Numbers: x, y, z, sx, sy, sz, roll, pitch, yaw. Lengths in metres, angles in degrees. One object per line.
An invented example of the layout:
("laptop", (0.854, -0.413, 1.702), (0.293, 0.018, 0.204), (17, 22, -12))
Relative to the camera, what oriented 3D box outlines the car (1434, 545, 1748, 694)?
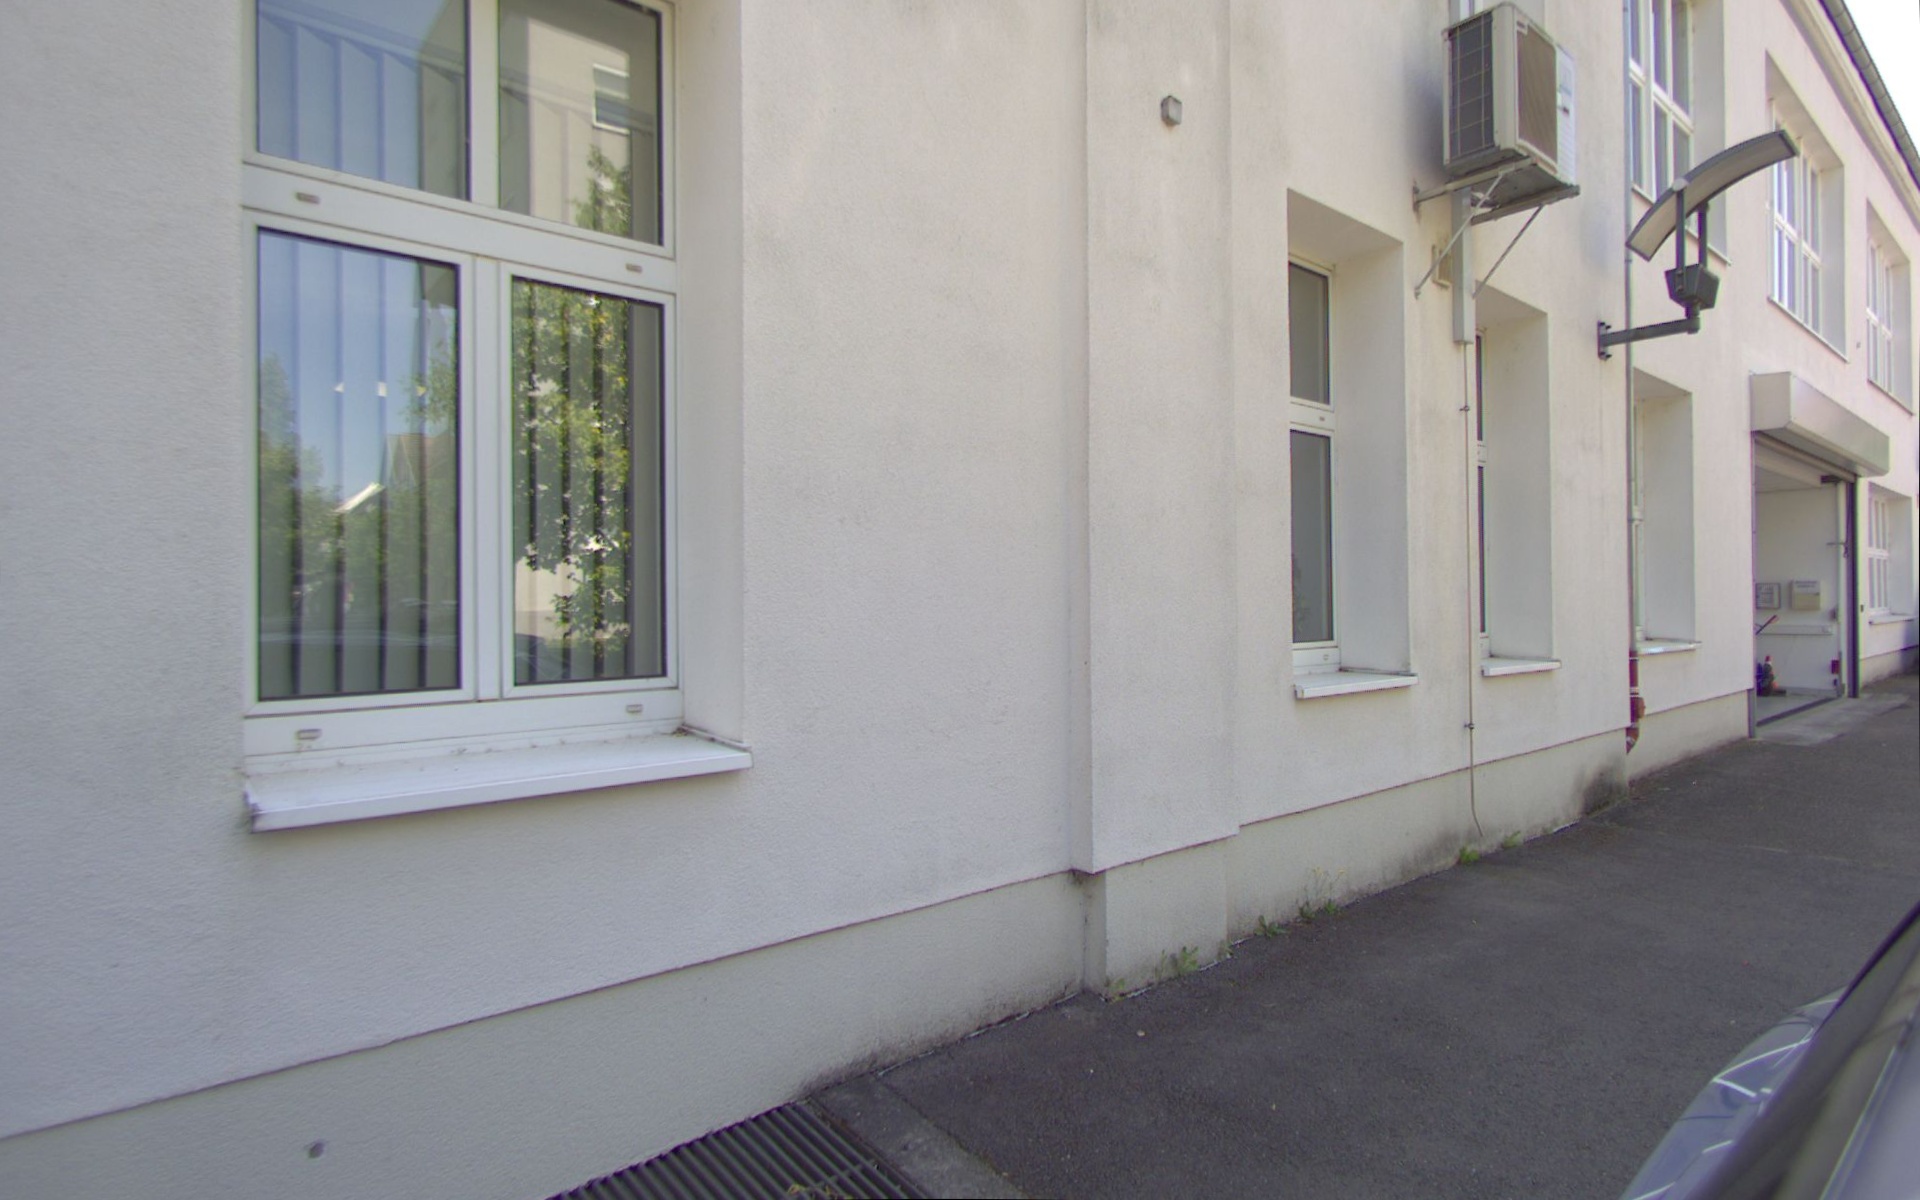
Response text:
("car", (9.733, 0.252, 15.878), (1.623, 2.039, 3.839), (-1, 0, -35))
